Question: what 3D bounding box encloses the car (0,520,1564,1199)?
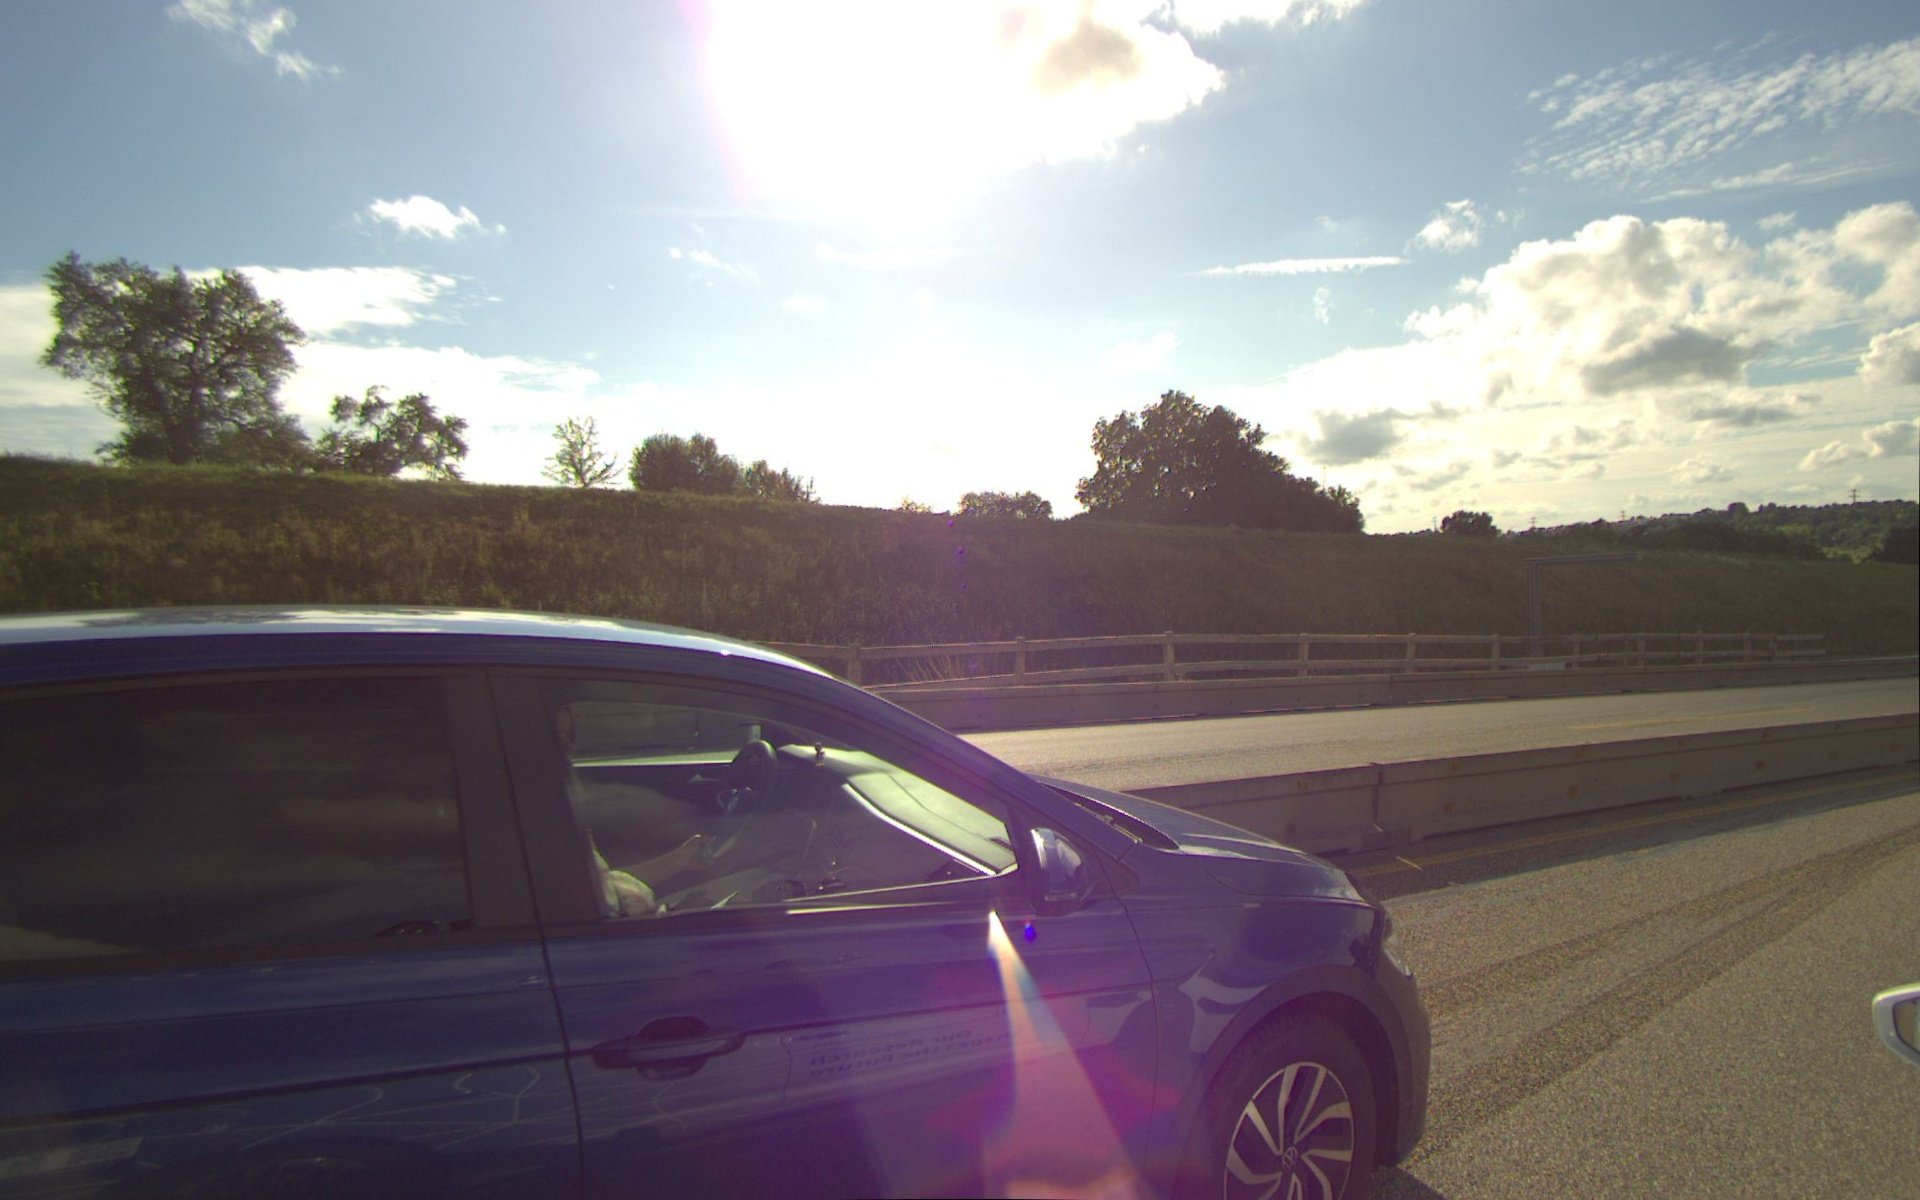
[{"bbox_3d":[-0.661,0.688,2.235,3.952,1.528,1.707,1,0,-29],"label":"car"}]
